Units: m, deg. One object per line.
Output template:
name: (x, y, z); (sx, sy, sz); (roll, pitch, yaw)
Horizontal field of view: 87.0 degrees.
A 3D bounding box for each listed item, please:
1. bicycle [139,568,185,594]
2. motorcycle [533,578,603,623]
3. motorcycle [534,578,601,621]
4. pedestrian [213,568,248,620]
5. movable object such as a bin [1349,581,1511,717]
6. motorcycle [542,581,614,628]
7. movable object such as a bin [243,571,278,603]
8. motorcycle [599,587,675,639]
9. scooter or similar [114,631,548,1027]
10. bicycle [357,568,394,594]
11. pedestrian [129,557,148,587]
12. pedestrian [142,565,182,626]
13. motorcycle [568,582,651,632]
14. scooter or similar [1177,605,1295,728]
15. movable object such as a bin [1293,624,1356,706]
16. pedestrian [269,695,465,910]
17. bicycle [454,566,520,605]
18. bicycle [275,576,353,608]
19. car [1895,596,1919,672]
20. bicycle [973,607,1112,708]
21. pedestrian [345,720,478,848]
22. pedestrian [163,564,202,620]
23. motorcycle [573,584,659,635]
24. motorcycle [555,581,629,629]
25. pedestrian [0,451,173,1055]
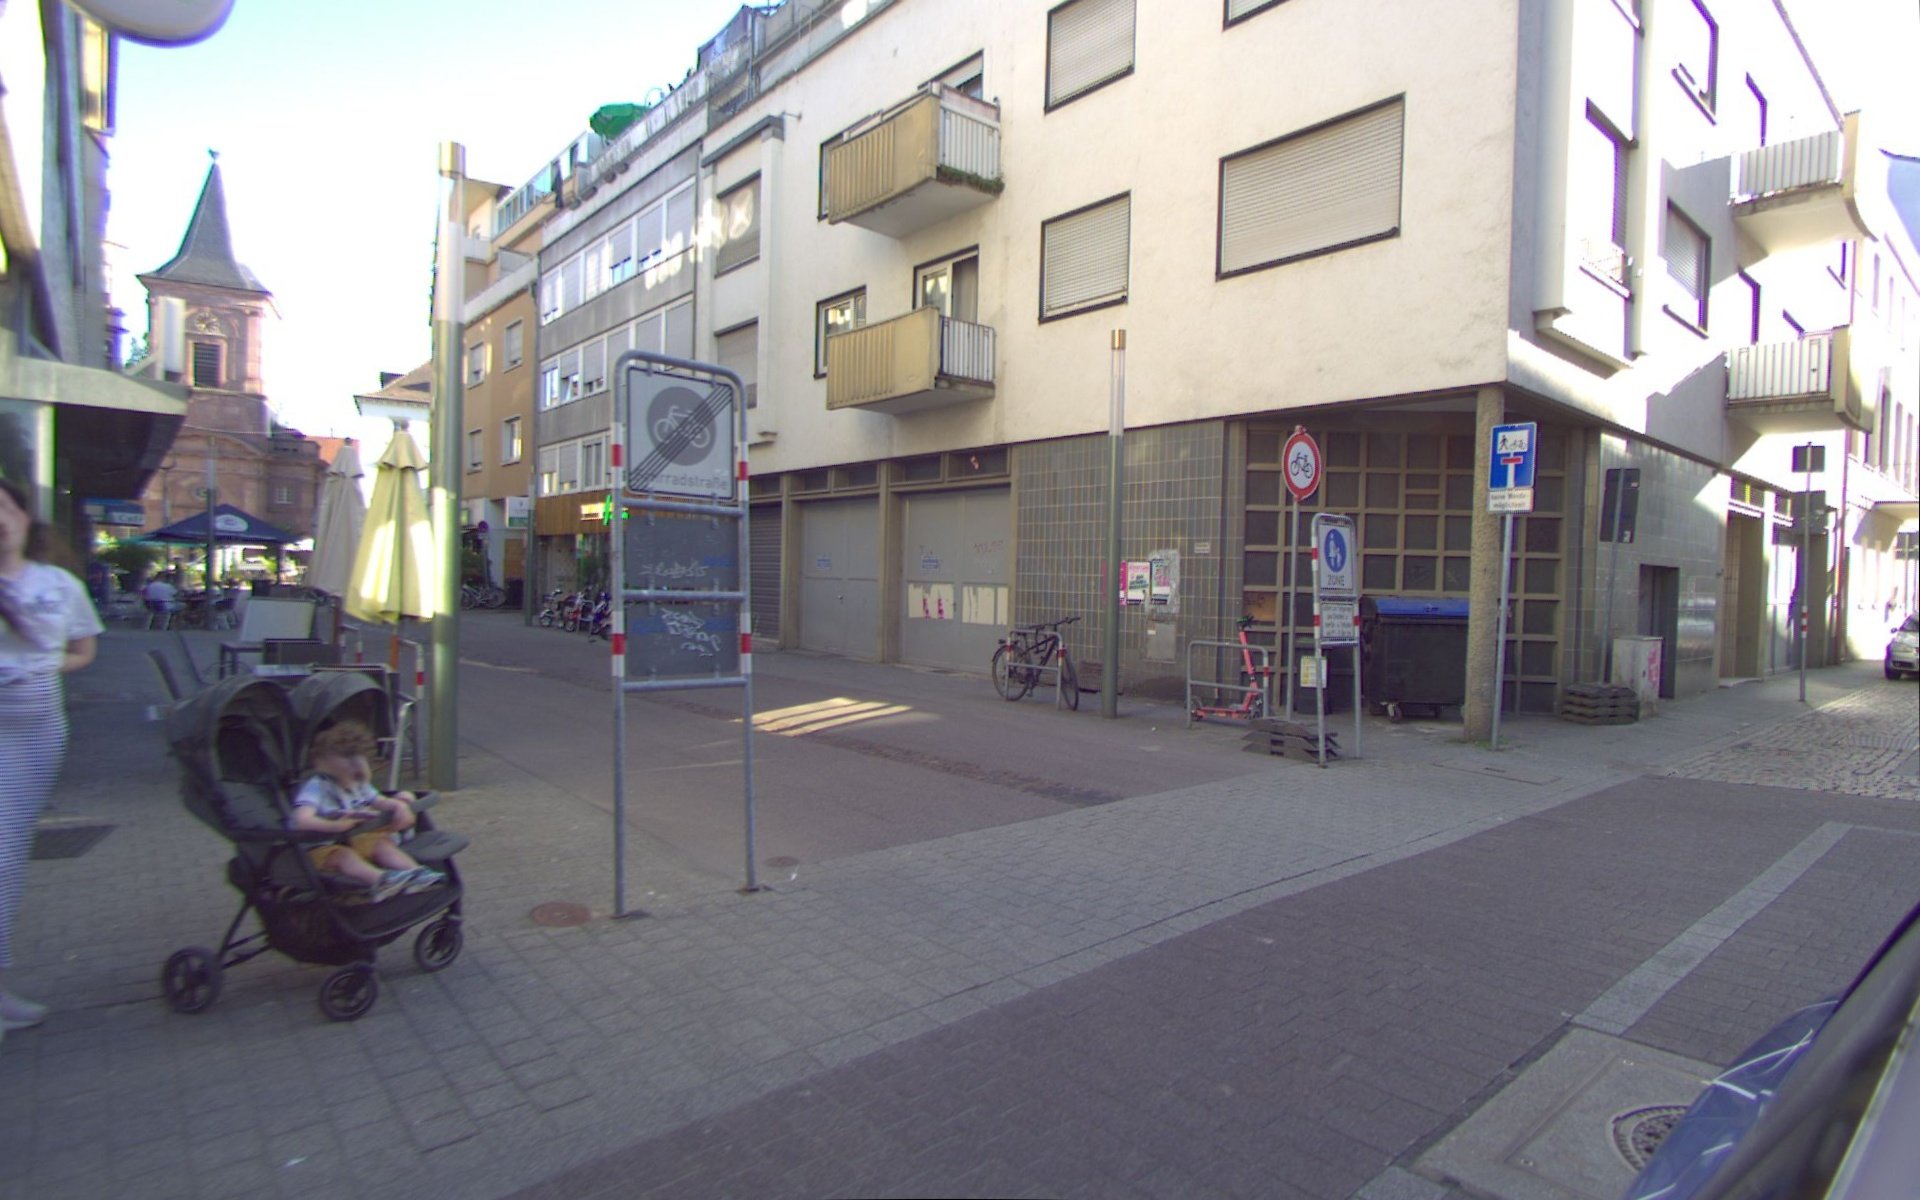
bicycle: (-32.107, -0.781, 40.731); (1.369, 1.015, 0.508); (1, 1, -11)
motorcycle: (-10.616, 0.017, 27.419); (1.660, 1.188, 0.513); (1, 1, -36)
motorcycle: (-10.997, -0.013, 28.373); (1.657, 1.188, 0.514); (1, 1, -29)
pedestrian: (-19.694, -0.167, 27.326); (0.750, 1.372, 0.551); (0, 1, -37)
movable object such as a bin: (5.500, 0.539, 11.960); (1.410, 1.481, 1.127); (1, 1, 8)
motorcycle: (-10.059, 0.127, 26.689); (1.660, 1.188, 0.597); (1, 1, -37)
movable object such as a bin: (-24.807, -0.462, 35.885); (0.890, 1.137, 0.778); (0, 1, -43)
motorcycle: (-7.594, 0.292, 23.800); (1.665, 1.169, 0.794); (1, 1, -18)
scooter or similar: (-2.242, 0.762, 3.749); (1.025, 1.191, 0.871); (3, 1, 1)
bicycle: (-26.528, -0.878, 45.959); (0.402, 1.168, 1.819); (1, 1, 7)
pedestrian: (-41.804, -1.427, 51.505); (0.794, 1.468, 0.619); (2, 1, 41)
pedestrian: (-18.180, -0.105, 23.056); (0.549, 1.372, 0.656); (2, 1, 44)
motorcycle: (-8.748, 0.171, 25.323); (1.871, 1.188, 0.544); (1, 0, -8)
scooter or similar: (3.040, 0.702, 11.199); (0.489, 1.238, 1.160); (0, 1, -43)
movable object such as a bin: (4.456, 0.783, 12.402); (0.587, 0.938, 0.606); (1, 1, 7)
pedestrian: (-2.054, 0.681, 3.522); (0.502, 0.641, 0.331); (1, 1, 15)
bicycle: (-17.271, -0.514, 36.979); (2.099, 1.368, 0.588); (0, -7, -36)
bicycle: (-21.667, -0.273, 33.962); (2.128, 0.996, 0.816); (2, 0, -38)
car: (20.667, 0.671, 20.685); (3.928, 1.480, 1.845); (0, 0, -40)
bicycle: (1.001, 0.680, 12.799); (0.669, 1.141, 1.893); (0, 1, -36)
pedestrian: (-2.098, 0.694, 3.886); (0.308, 0.403, 0.331); (1, 1, 14)
pedestrian: (-19.617, -0.202, 25.544); (0.750, 1.372, 0.551); (0, 1, -37)
motorcycle: (-8.330, 0.227, 24.549); (1.863, 1.188, 0.629); (1, 1, -2)
motorcycle: (-9.465, 0.131, 26.057); (1.747, 1.188, 0.556); (1, 1, -22)
pedestrian: (-3.077, 0.434, 3.242); (0.611, 1.758, 0.626); (1, 1, 2)
